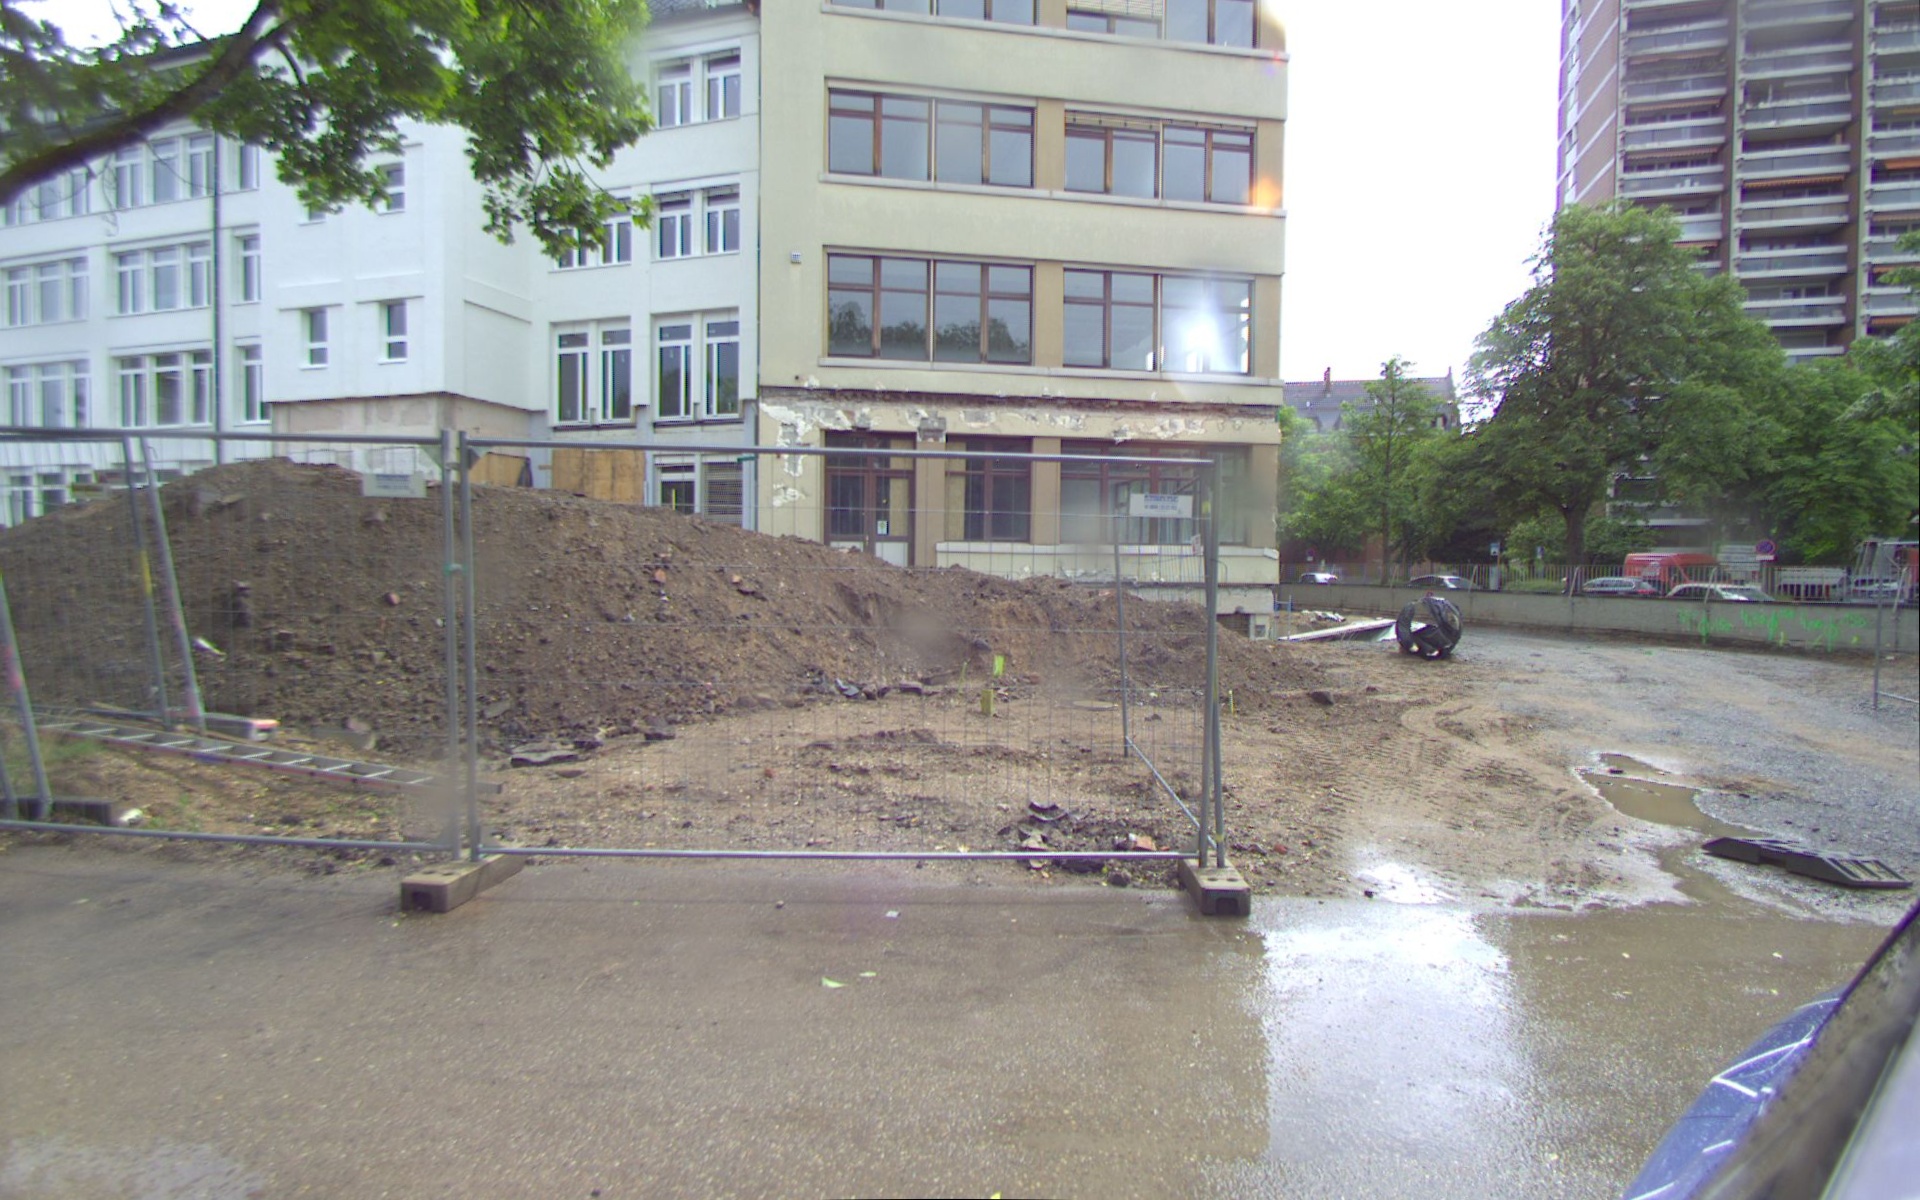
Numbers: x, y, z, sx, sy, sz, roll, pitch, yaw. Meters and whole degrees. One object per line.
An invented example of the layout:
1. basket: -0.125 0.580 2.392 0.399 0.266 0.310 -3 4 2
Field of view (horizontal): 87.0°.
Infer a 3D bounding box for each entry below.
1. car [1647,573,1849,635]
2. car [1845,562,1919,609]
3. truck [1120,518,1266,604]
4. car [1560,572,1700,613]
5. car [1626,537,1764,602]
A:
1. car: 20.892 0.060 27.064 1.851 1.489 4.007 2 1 -9
2. car: 34.828 -0.587 38.052 1.773 1.584 3.999 2 4 34
3. truck: 10.799 -1.748 48.426 3.176 3.571 9.927 2 1 -9
4. car: 27.545 -0.346 41.800 1.958 1.499 4.774 2 1 -12
5. car: 32.587 -1.395 45.132 2.261 2.666 5.480 2 2 4
